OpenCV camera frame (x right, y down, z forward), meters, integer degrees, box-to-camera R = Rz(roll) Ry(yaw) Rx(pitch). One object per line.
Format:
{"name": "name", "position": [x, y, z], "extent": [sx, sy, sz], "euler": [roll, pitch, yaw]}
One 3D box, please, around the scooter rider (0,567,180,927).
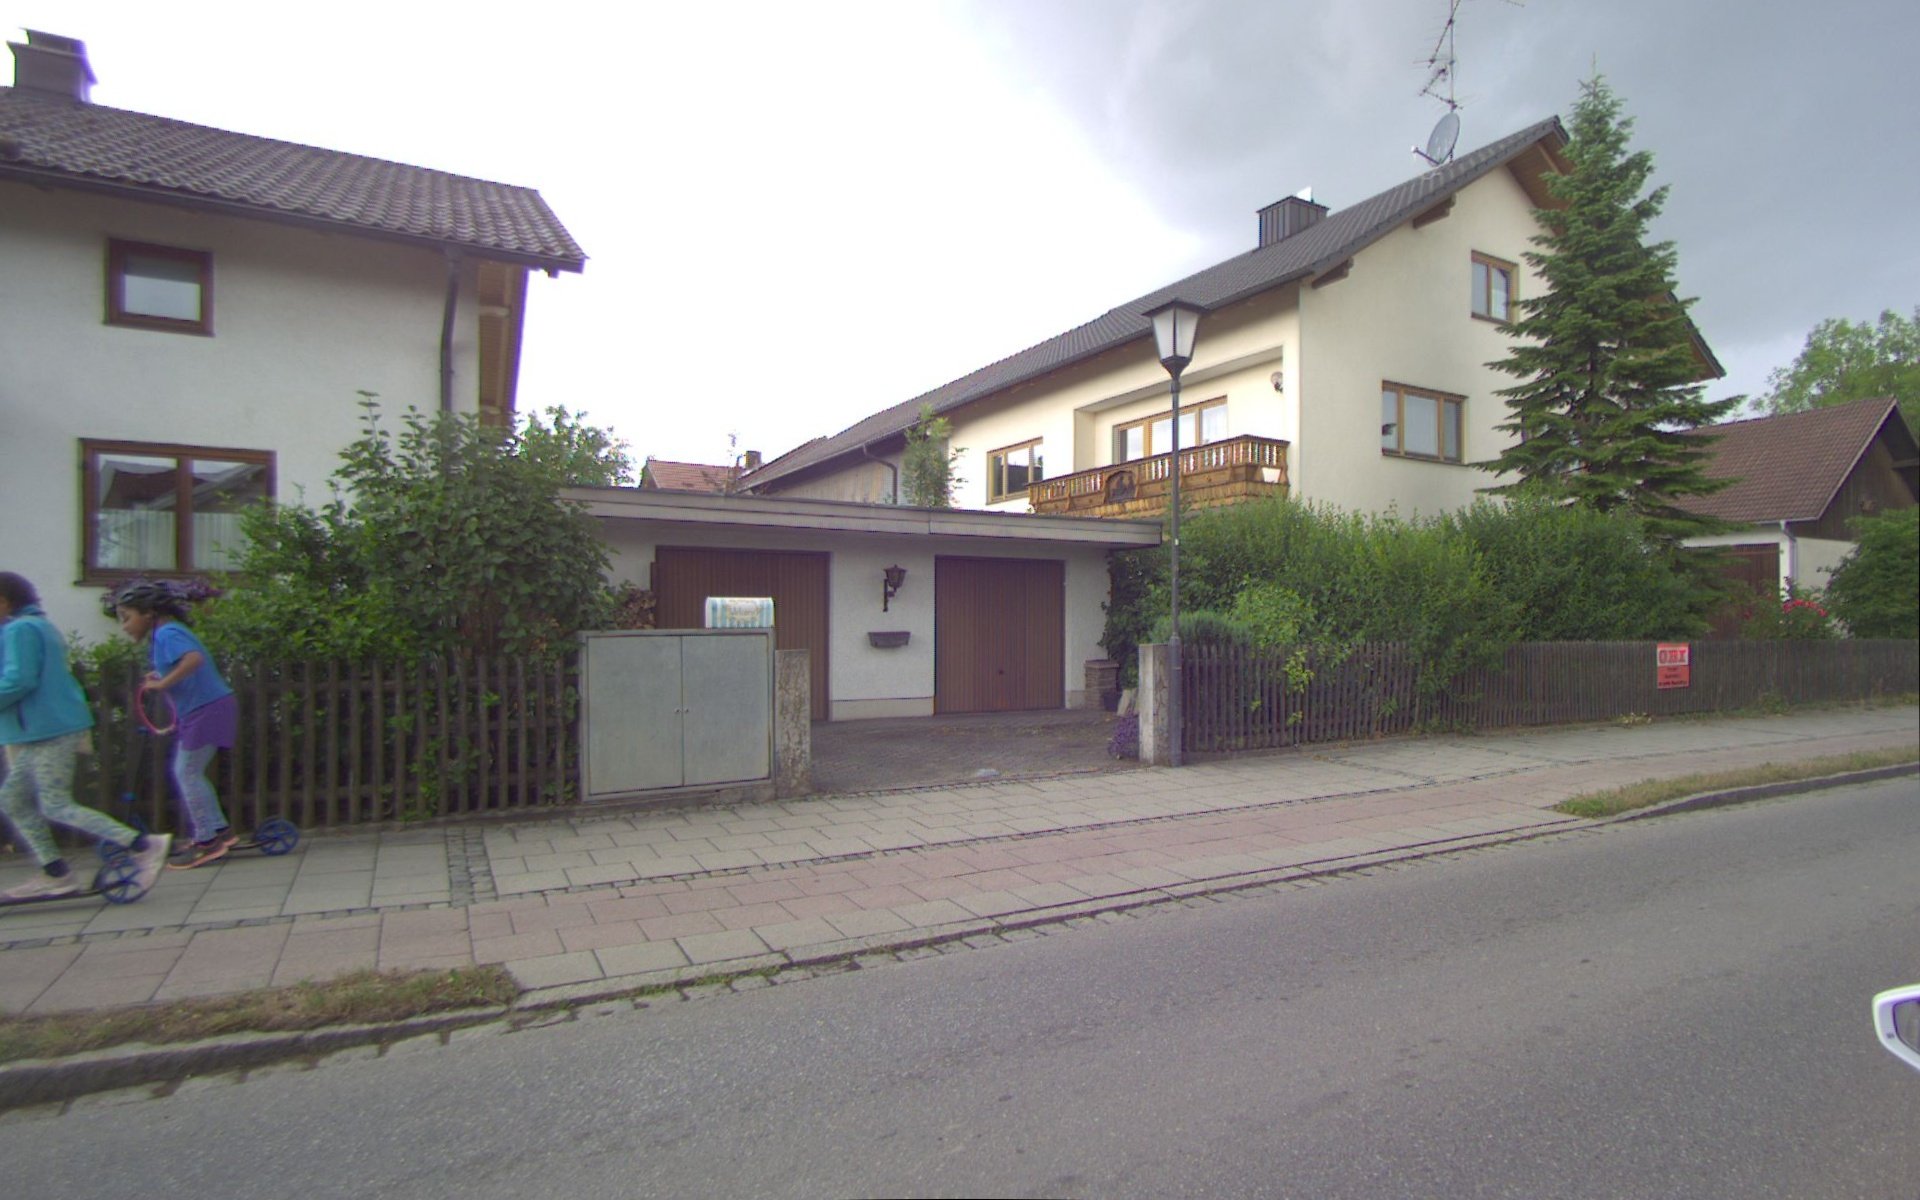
{"name": "scooter rider", "position": [-4.007, 0.621, 4.513], "extent": [0.708, 1.509, 0.500], "euler": [1, 0, -30]}

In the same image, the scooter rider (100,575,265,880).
{"name": "scooter rider", "position": [-4.106, 0.629, 5.350], "extent": [0.573, 1.492, 0.659], "euler": [1, 0, -29]}

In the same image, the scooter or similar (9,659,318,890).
{"name": "scooter or similar", "position": [-4.135, 0.858, 5.325], "extent": [1.164, 1.051, 0.658], "euler": [1, -1, -29]}

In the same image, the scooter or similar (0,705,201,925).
{"name": "scooter or similar", "position": [-4.094, 0.938, 4.479], "extent": [1.048, 0.861, 0.519], "euler": [1, 0, -29]}
